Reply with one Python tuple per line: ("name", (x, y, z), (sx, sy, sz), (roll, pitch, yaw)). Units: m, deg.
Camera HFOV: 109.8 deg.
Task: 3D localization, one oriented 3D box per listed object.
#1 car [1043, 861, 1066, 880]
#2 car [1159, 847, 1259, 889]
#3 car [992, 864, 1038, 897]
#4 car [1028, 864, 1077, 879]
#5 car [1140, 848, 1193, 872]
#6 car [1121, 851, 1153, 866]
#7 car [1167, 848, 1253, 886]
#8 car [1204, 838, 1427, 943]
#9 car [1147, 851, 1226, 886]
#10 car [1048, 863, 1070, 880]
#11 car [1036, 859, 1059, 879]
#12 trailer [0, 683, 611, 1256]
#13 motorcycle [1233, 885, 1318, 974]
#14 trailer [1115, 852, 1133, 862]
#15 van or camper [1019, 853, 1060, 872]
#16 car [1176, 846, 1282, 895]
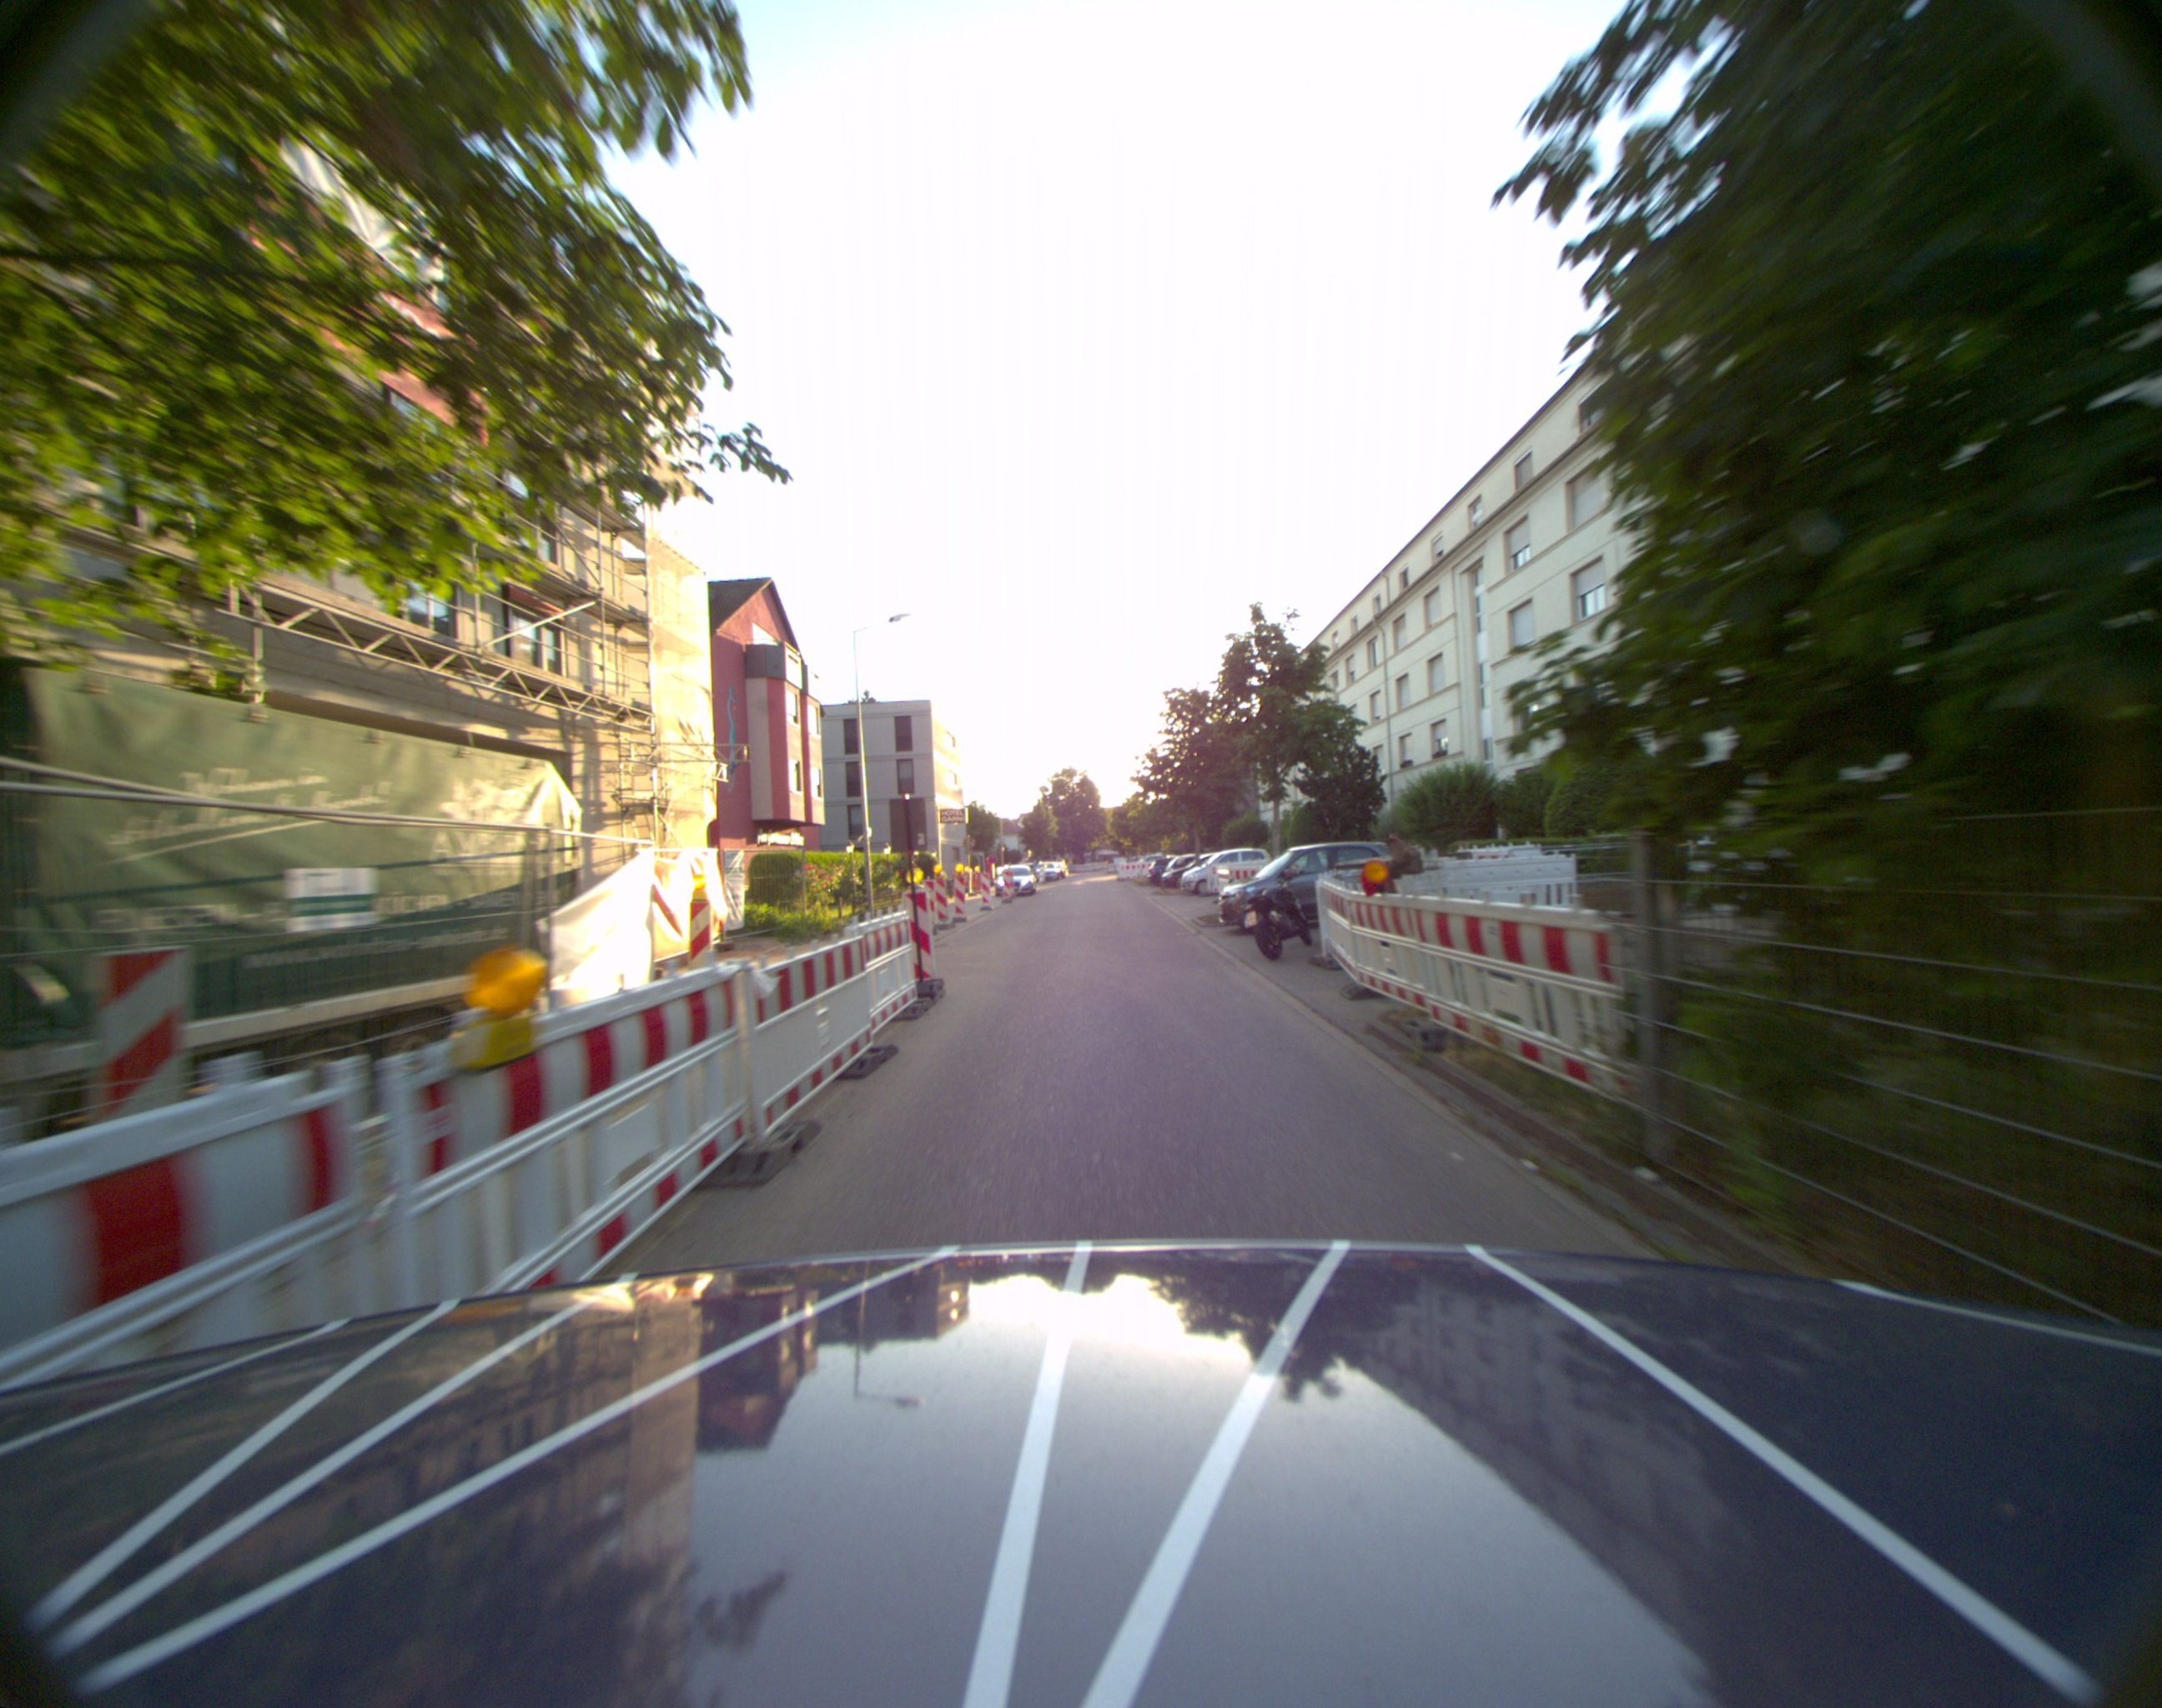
("car", (-2.213, 1.373, 65.110), (1.802, 1.461, 3.843), (-3, -1, -1))
("car", (5.405, 0.579, 32.442), (3.987, 1.480, 1.728), (-4, 1, 3))
("car", (-3.130, 1.239, 36.756), (1.780, 1.388, 4.108), (-3, -1, 1))
("car", (-2.922, 1.818, 78.626), (4.830, 1.389, 1.770), (-2, -1, 2))
("car", (6.418, 0.447, 57.320), (3.709, 1.475, 1.728), (-4, 0, -1))
("car", (8.622, 0.719, 116.162), (4.785, 2.057, 2.001), (-3, 0, 6))
("car", (5.951, 0.573, 35.450), (3.686, 1.475, 1.728), (-4, 1, 3))
("car", (4.360, 0.666, 14.534), (3.632, 1.547, 1.693), (-6, 0, 1))
("car", (5.238, 0.702, 38.105), (3.686, 1.437, 1.728), (-4, 1, 3))
("car", (-2.048, 1.593, 70.449), (1.745, 1.461, 3.759), (-3, -1, 2))
("car", (-2.610, 1.171, 59.508), (1.618, 1.461, 3.997), (-3, -1, -1))
("trailer", (-5.715, 0.571, 5.365), (1.998, 2.524, 4.187), (-3, -1, 2))
("motorcycle", (2.918, 1.069, 11.197), (0.538, 1.015, 2.215), (-6, -1, 30))
("trailer", (10.110, 0.684, 178.906), (3.683, 2.056, 2.002), (-4, -1, 15))
("van or camper", (-4.843, 0.954, 89.099), (4.660, 1.942, 2.094), (-3, 0, -2))
("car", (5.471, 0.587, 28.439), (3.484, 1.557, 1.727), (-4, 1, -4))
